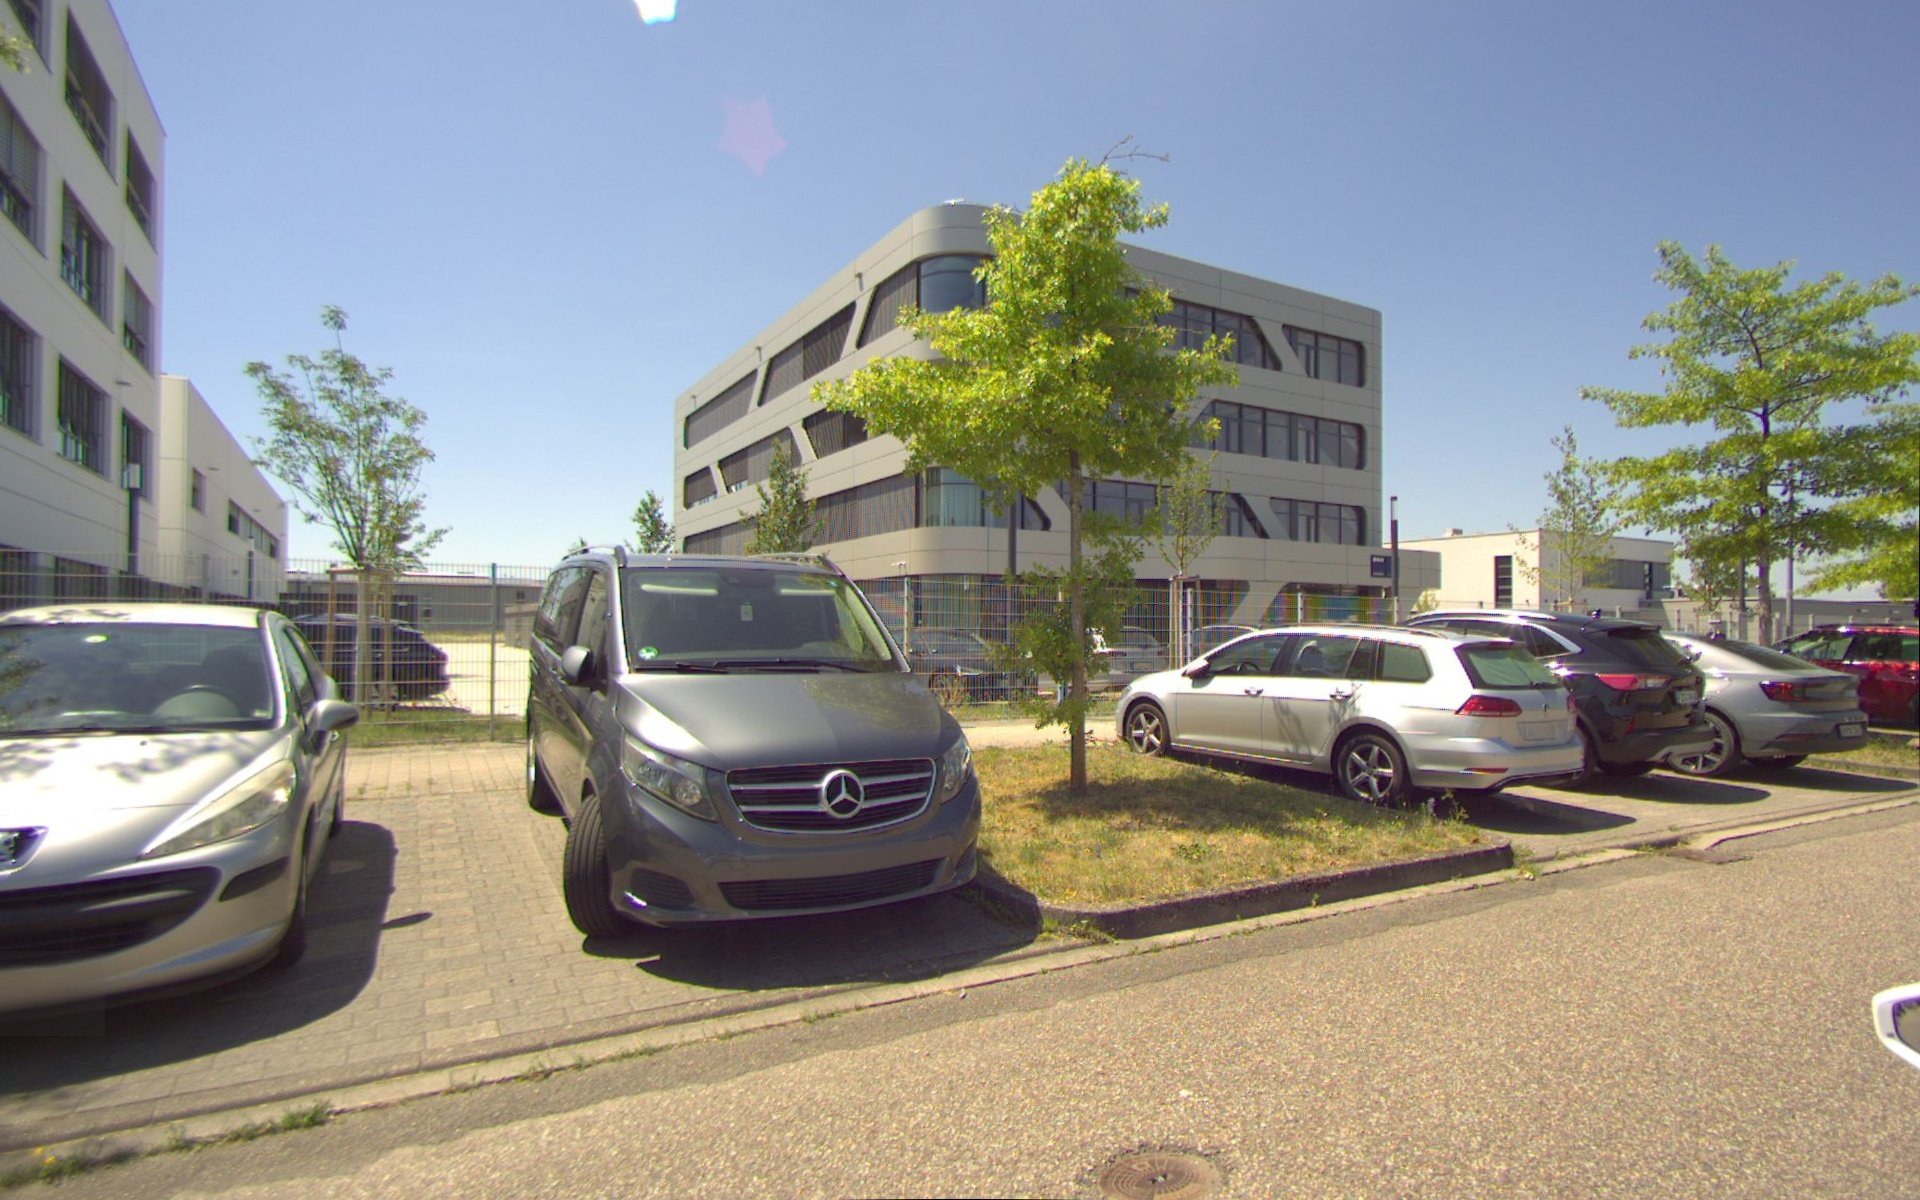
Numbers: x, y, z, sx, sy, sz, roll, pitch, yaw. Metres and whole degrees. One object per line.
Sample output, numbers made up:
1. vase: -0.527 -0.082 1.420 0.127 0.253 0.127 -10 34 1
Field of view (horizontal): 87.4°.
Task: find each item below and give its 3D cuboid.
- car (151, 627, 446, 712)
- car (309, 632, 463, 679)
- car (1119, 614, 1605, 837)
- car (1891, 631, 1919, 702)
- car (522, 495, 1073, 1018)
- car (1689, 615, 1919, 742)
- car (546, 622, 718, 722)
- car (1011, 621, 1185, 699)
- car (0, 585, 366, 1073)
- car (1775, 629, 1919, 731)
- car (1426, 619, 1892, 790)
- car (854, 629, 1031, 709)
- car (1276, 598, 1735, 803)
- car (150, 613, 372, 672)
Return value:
1. car: -11.139 1.213 17.282 3.954 1.243 1.985 5 -4 -30
2. car: -17.698 1.715 31.133 3.954 1.243 1.985 5 -4 -30
3. car: 3.413 0.939 9.309 1.586 1.480 4.015 1 0 -32
4. car: 21.278 1.409 19.735 1.853 1.443 4.052 1 0 -33
5. car: -1.521 0.585 6.394 1.972 1.917 5.050 1 0 -28
6. car: 13.285 1.098 14.800 1.794 1.643 3.722 1 0 -28
7. car: -5.243 1.129 15.732 1.660 1.349 3.966 1 -5 -32
8. car: 2.649 1.162 19.966 1.658 1.409 3.463 1 -3 -30
9. car: -3.997 0.709 4.881 1.742 1.504 3.951 1 1 -29
10. car: 15.562 1.285 16.015 1.712 1.528 3.635 1 0 -33
11. car: 7.893 1.050 11.812 1.692 1.500 4.175 1 0 -29
12. car: -0.414 1.219 17.700 1.658 1.254 3.464 1 -5 -30
13. car: 5.606 0.884 10.799 1.759 1.701 3.962 1 0 -34
14. car: -15.826 0.996 23.031 3.953 1.244 1.985 2 -3 -30
